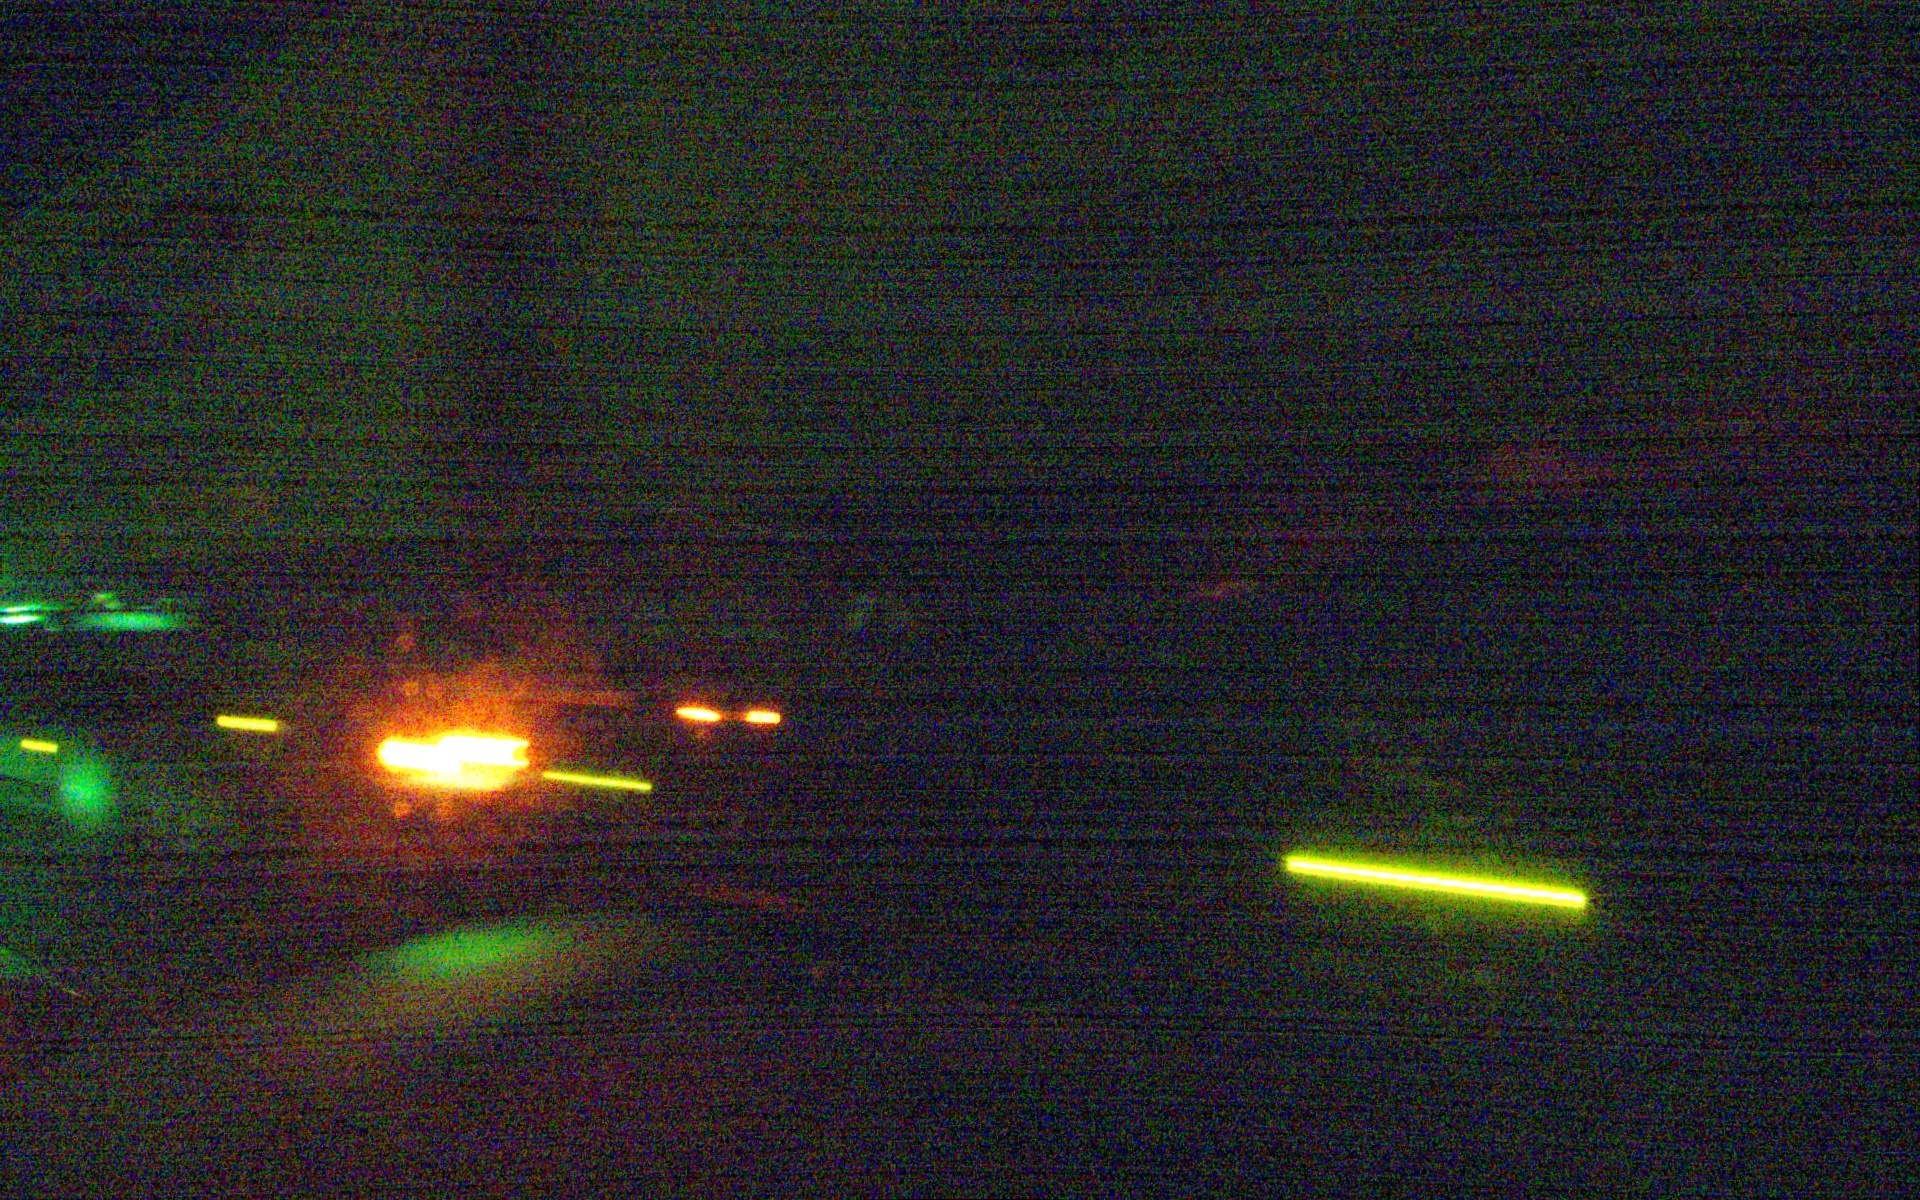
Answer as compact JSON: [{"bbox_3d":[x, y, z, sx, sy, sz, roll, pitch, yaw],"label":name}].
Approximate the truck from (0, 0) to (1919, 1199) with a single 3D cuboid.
[{"bbox_3d":[-2.282,-0.491,5.741,18.442,4.187,3.477,-1,-2,33],"label":"truck"}]
